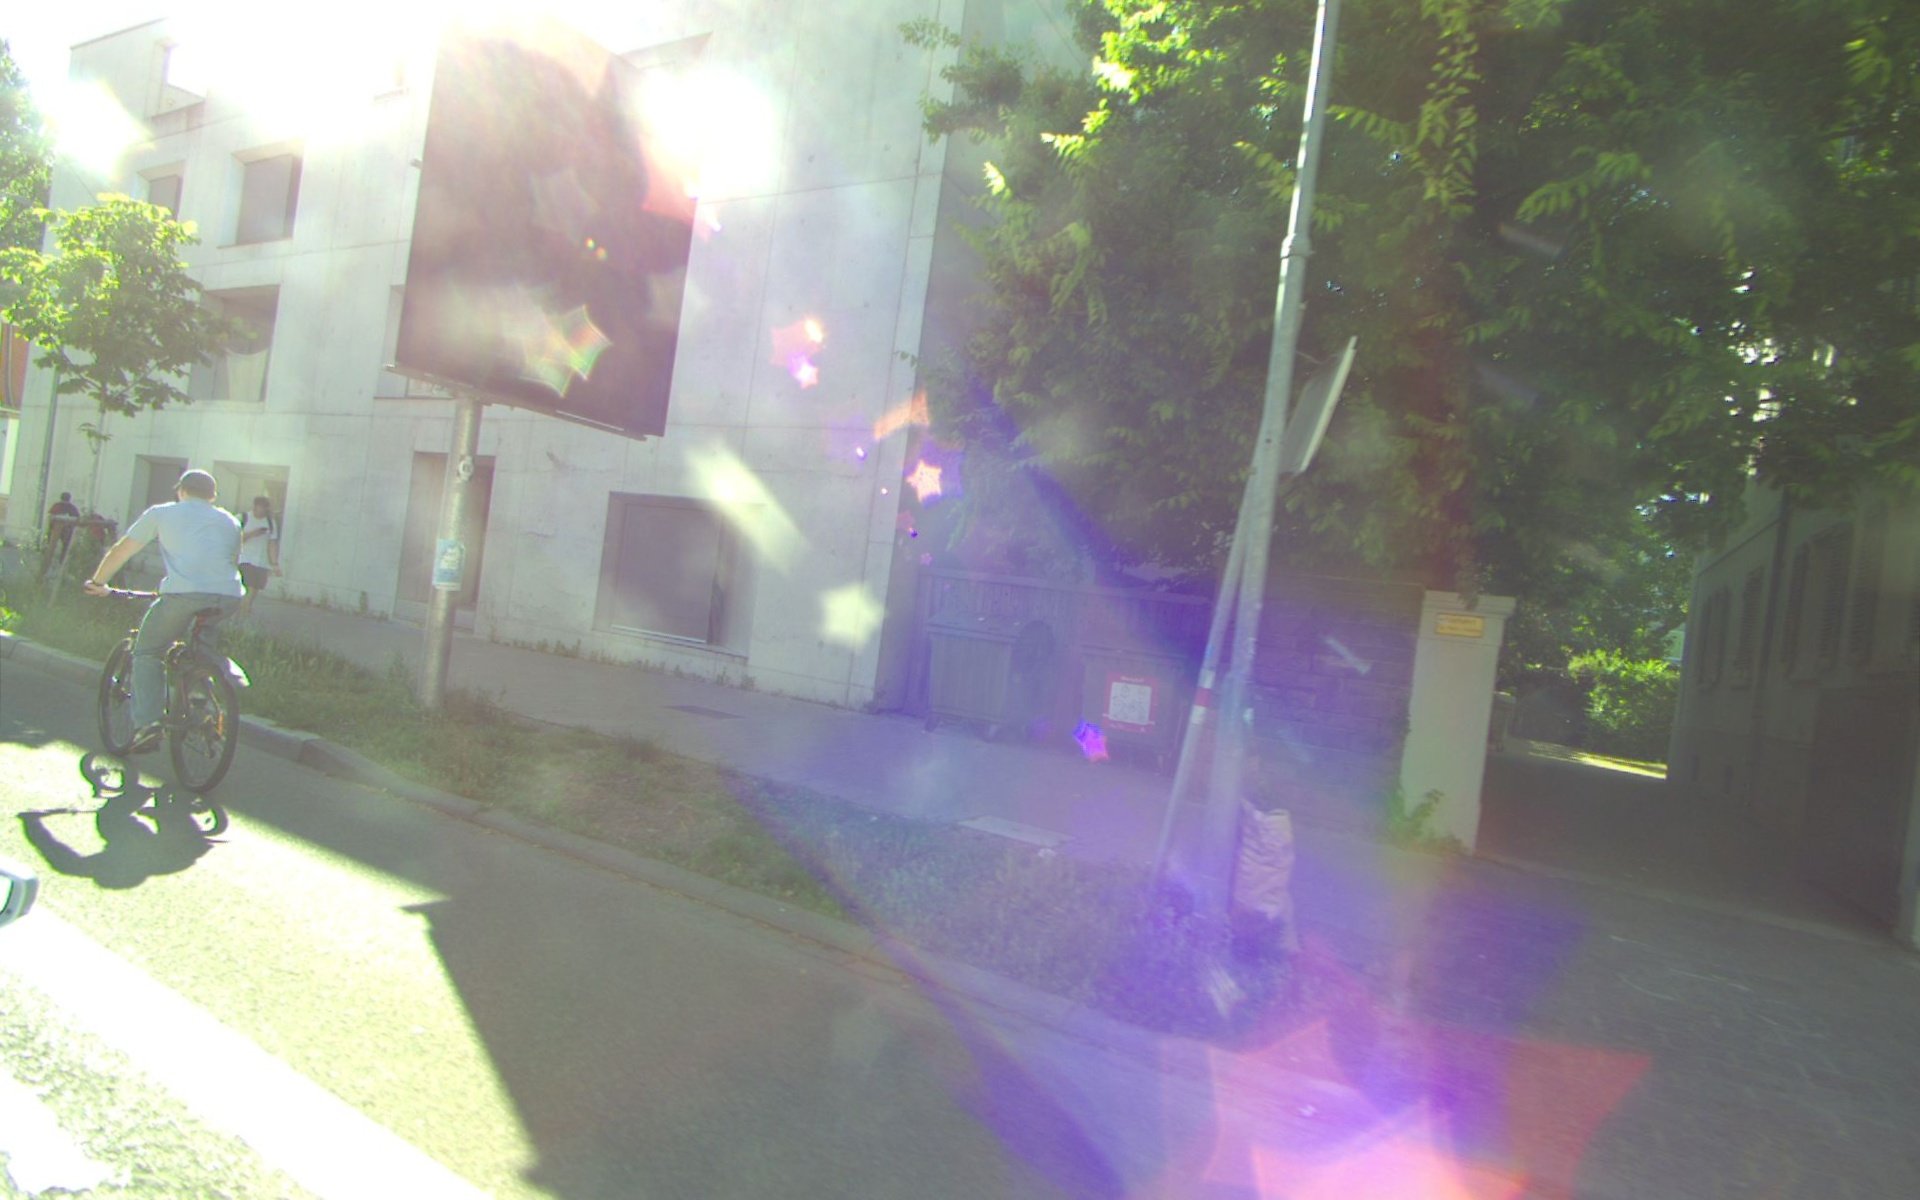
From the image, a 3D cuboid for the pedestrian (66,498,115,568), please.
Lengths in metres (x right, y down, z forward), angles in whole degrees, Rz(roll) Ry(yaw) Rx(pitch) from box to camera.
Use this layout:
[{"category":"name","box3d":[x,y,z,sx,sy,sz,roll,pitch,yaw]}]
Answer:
[{"category":"pedestrian","box3d":[-19.250,-1.482,22.278,0.752,1.421,0.518,7,0,33]}]

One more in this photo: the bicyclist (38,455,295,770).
[{"category":"bicyclist","box3d":[-4.748,0.072,6.035,0.955,1.705,0.740,7,-2,32]}]

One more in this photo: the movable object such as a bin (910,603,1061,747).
[{"category":"movable object such as a bin","box3d":[0.309,0.877,11.921,1.332,1.480,0.935,7,-1,32]}]

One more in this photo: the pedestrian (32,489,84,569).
[{"category":"pedestrian","box3d":[-19.592,-1.544,21.852,0.752,1.620,0.518,7,0,33]}]

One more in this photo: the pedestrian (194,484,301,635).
[{"category":"pedestrian","box3d":[-9.527,-0.533,13.460,0.939,1.873,0.685,7,1,29]}]

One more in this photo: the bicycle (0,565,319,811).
[{"category":"bicycle","box3d":[-4.861,0.478,6.061,2.076,1.106,0.740,7,-2,32]}]

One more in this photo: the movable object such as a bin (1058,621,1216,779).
[{"category":"movable object such as a bin","box3d":[1.953,1.076,11.052,1.308,1.480,0.935,7,-1,29]}]

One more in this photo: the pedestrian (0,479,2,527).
[{"category":"pedestrian","box3d":[-29.381,-2.760,30.271,0.720,1.826,0.656,8,3,38]}]
